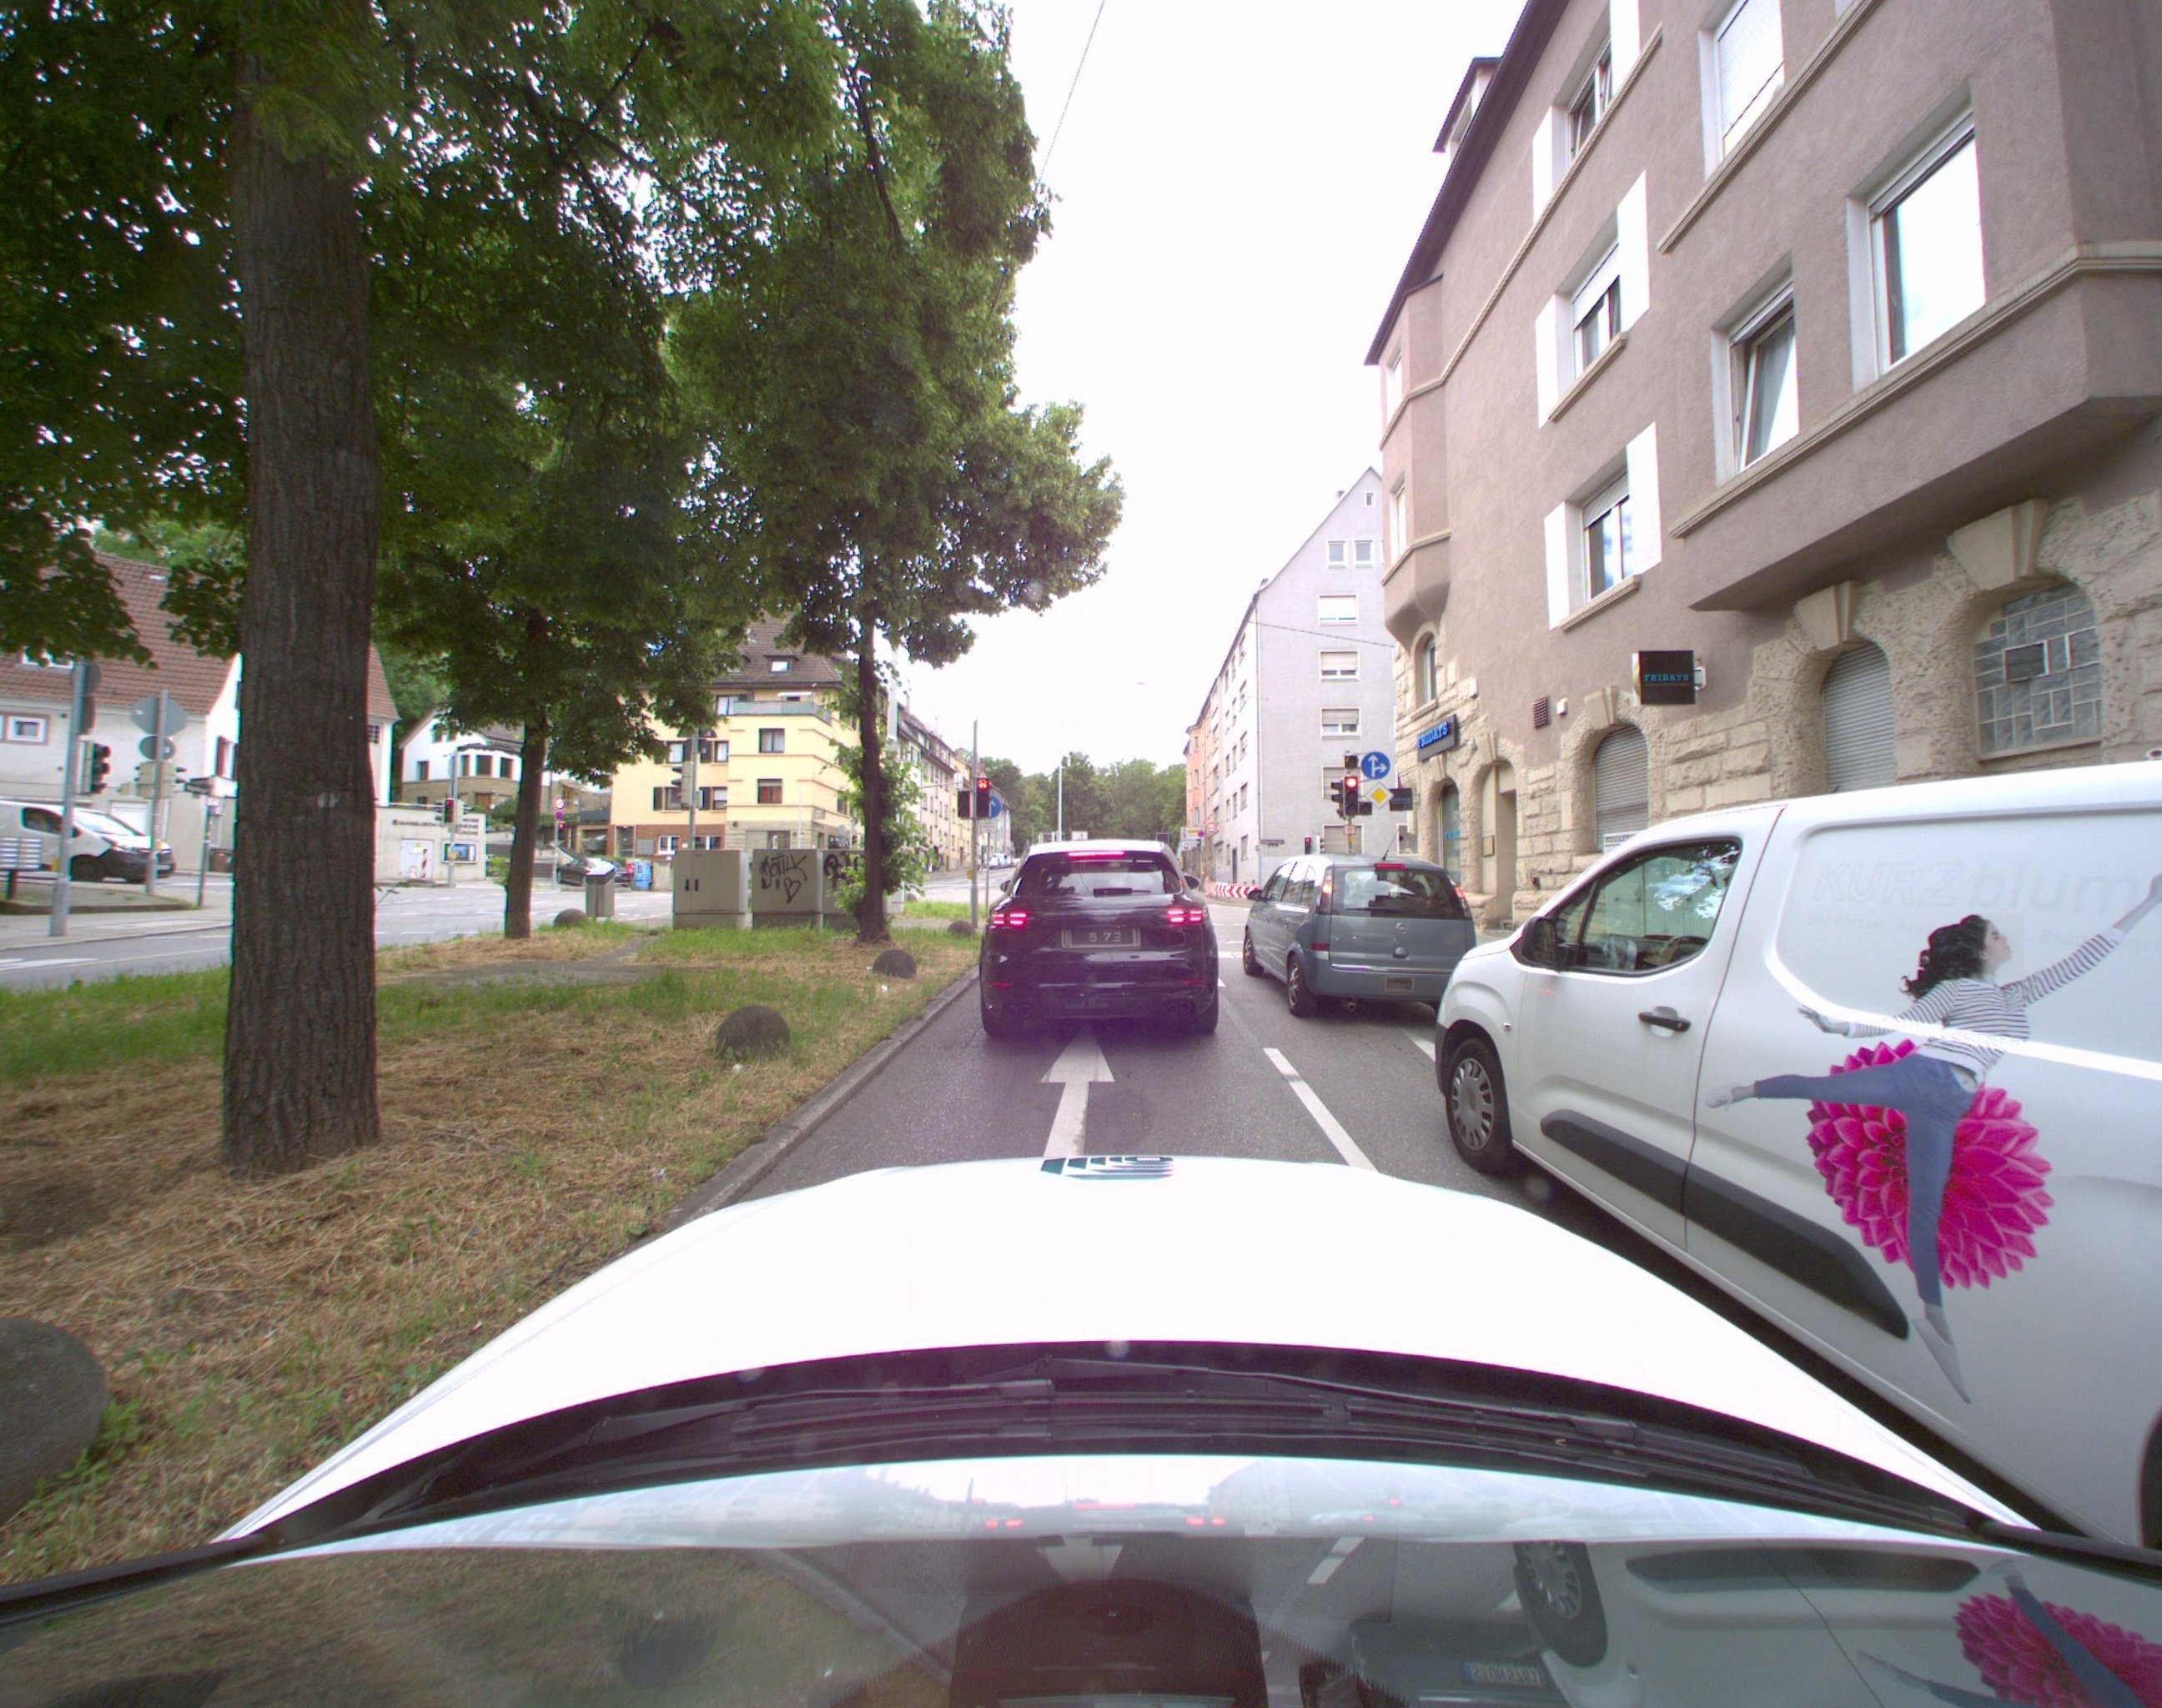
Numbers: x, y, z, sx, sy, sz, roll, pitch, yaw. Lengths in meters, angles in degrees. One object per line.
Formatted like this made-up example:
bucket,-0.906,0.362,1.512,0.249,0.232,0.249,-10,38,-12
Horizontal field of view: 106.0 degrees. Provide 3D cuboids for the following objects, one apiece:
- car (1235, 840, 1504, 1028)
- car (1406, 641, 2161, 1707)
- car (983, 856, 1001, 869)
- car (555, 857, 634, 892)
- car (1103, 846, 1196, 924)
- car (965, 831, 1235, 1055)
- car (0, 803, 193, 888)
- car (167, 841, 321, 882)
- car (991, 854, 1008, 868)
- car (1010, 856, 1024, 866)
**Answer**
car,2.920,0.726,9.077,1.746,1.593,3.631,3,0,2
car,2.782,0.640,2.802,1.840,1.825,5.029,1,-2,7
car,-10.919,1.036,100.142,1.788,1.510,4.001,0,0,1
car,-23.973,1.025,40.097,3.948,1.665,1.894,-2,-2,36
car,1.617,0.699,19.704,1.986,1.653,4.003,-1,-1,3
car,0.260,0.657,8.066,1.986,1.653,4.004,-1,0,3
car,-27.175,-0.222,21.124,5.186,2.064,1.982,2,-1,-21
car,-32.498,0.300,31.804,4.021,1.510,1.779,1,0,-41
car,-10.514,0.866,105.162,1.788,1.810,4.001,0,0,1
car,-9.882,1.012,126.546,1.788,1.510,4.001,0,0,1
